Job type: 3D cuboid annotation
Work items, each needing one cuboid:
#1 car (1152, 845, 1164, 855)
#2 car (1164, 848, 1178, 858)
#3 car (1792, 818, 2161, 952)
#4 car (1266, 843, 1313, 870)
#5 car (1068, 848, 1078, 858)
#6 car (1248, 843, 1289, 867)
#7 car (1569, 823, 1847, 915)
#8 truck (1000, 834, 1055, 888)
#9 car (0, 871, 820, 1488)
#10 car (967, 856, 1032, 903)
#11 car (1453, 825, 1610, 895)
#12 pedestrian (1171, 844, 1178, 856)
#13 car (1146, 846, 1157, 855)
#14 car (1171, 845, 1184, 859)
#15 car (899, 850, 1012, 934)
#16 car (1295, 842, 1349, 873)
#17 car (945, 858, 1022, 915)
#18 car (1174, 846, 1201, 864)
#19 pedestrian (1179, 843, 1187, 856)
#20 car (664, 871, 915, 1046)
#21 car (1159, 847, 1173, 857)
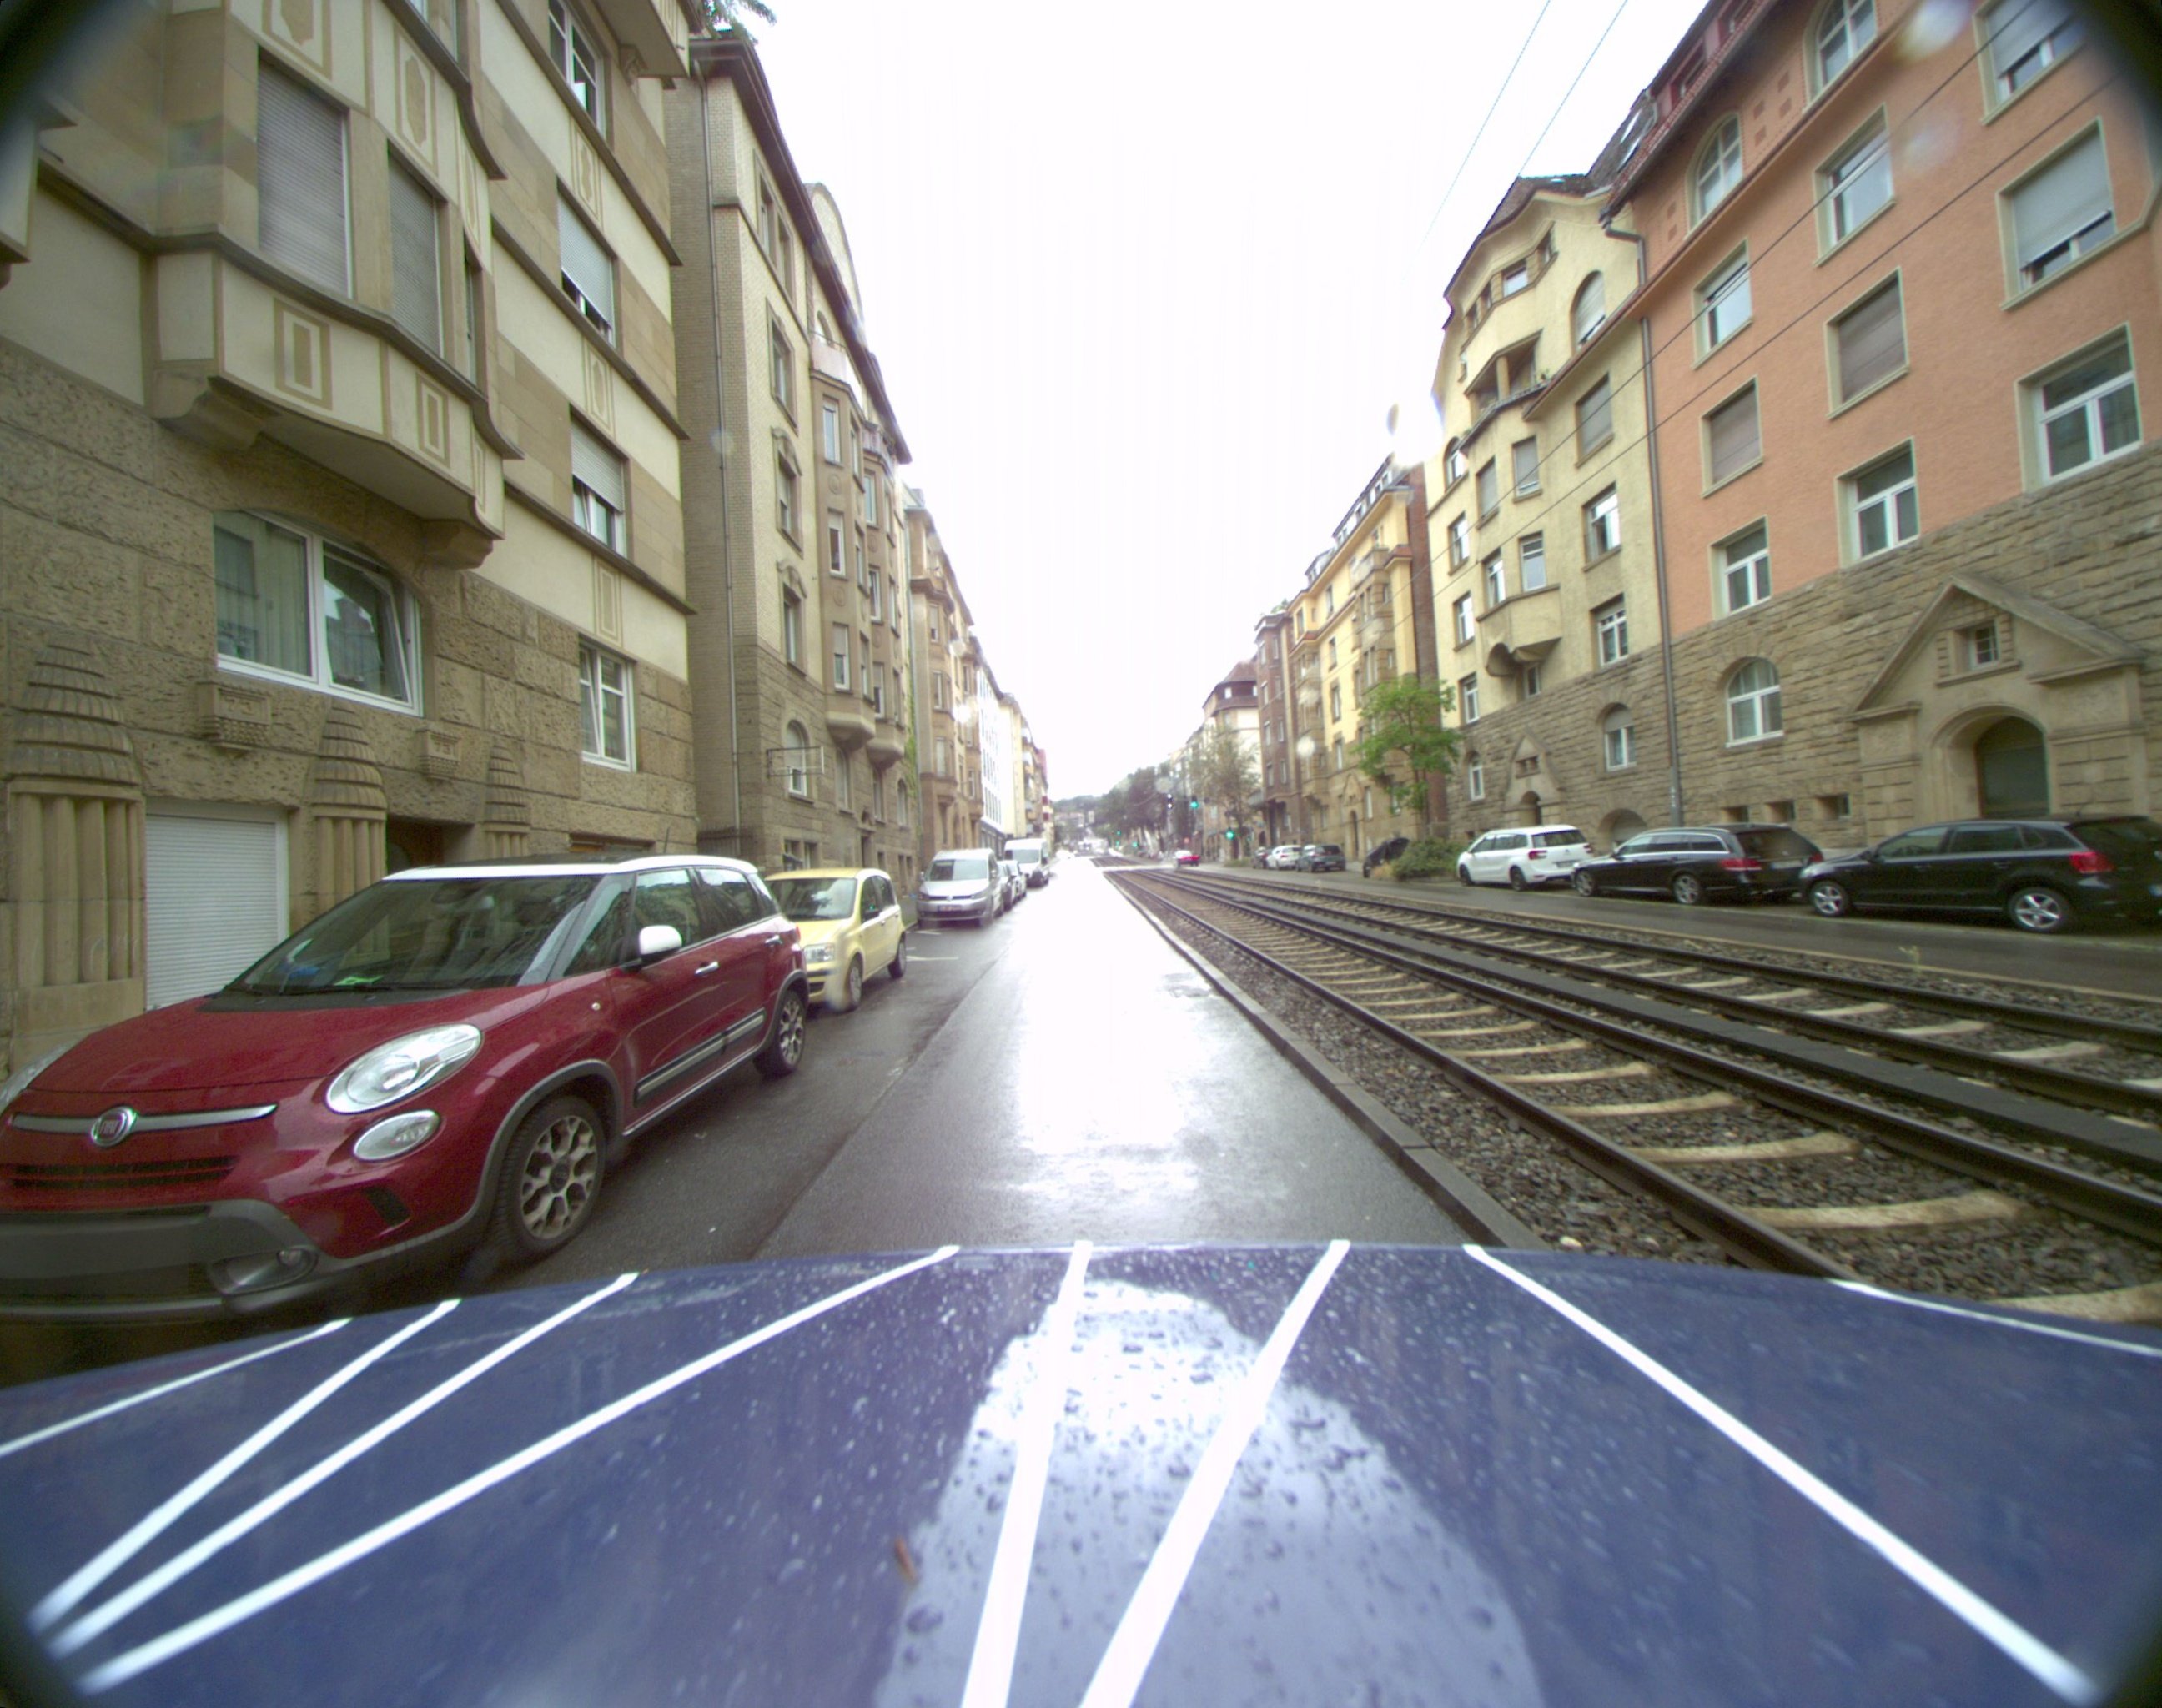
[{"bbox_3d":[12.849,-0.650,126.868,1.657,1.589,3.775,-3,0,1],"label":"car"},{"bbox_3d":[12.583,-0.102,106.415,1.583,1.303,3.845,-3,0,1],"label":"car"},{"bbox_3d":[12.535,0.318,10.499,1.935,1.488,3.641,-2,1,-2],"label":"car"},{"bbox_3d":[12.479,0.118,45.686,1.771,1.433,4.031,-3,0,2],"label":"car"},{"bbox_3d":[-1.698,-0.194,158.408,1.998,1.838,4.000,-3,0,1],"label":"car"},{"bbox_3d":[12.489,0.065,50.780,1.771,1.433,3.845,-3,0,1],"label":"car"},{"bbox_3d":[12.298,0.250,15.417,1.847,1.486,4.601,-3,0,1],"label":"car"},{"bbox_3d":[-2.716,0.340,39.978,2.235,2.521,6.143,-3,0,1],"label":"truck"},{"bbox_3d":[-3.027,0.980,4.125,1.807,1.590,3.999,-3,0,-1],"label":"car"},{"bbox_3d":[-2.946,0.880,28.349,1.891,1.521,3.929,-3,0,1],"label":"car"},{"bbox_3d":[12.279,0.137,21.079,1.867,1.646,4.146,-3,0,1],"label":"car"},{"bbox_3d":[15.036,-0.641,122.198,1.056,1.946,1.163,-3,1,2],"label":"pedestrian"},{"bbox_3d":[12.445,-0.650,133.736,1.632,1.537,3.801,-3,0,1],"label":"car"},{"bbox_3d":[12.681,-0.247,99.577,1.583,1.669,3.790,-3,2,7],"label":"car"},{"bbox_3d":[-3.003,0.848,19.232,1.968,1.792,4.459,-3,0,1],"label":"car"},{"bbox_3d":[12.511,0.130,39.647,1.678,1.433,3.845,-4,1,3],"label":"car"},{"bbox_3d":[-2.957,0.938,23.849,1.999,1.521,3.999,-3,0,-3],"label":"car"},{"bbox_3d":[9.709,0.081,69.669,1.807,1.514,4.964,-3,0,1],"label":"car"},{"bbox_3d":[16.345,-0.691,122.185,1.056,1.946,1.163,-3,1,2],"label":"pedestrian"},{"bbox_3d":[-3.183,1.042,9.074,1.580,1.520,3.578,-3,0,-1],"label":"car"},{"bbox_3d":[12.879,-0.292,115.398,1.771,1.507,3.845,-3,0,1],"label":"car"}]
